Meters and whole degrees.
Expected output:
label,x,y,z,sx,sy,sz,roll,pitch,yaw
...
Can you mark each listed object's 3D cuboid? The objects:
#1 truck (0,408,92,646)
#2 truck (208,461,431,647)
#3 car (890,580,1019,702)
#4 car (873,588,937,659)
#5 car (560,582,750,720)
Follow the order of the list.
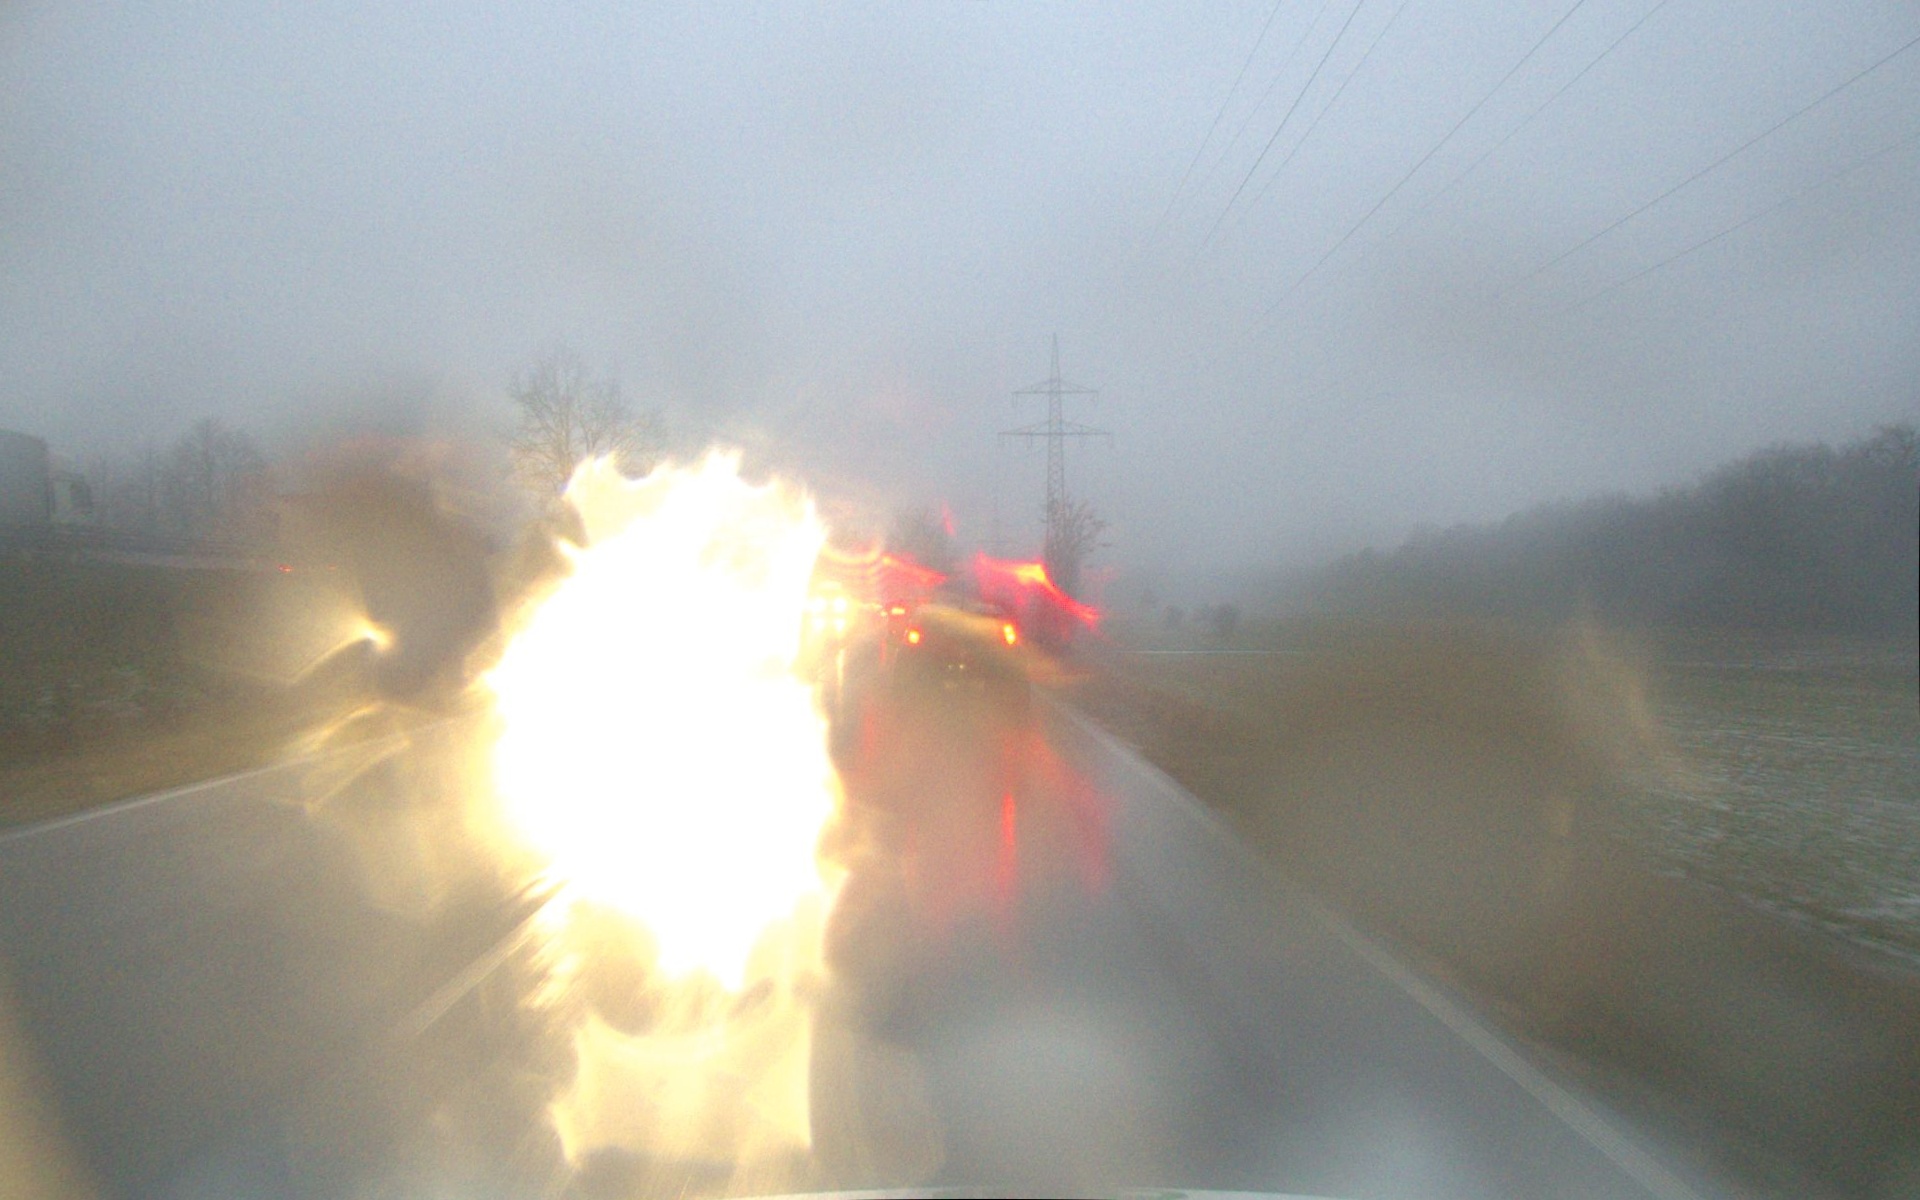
label,x,y,z,sx,sy,sz,roll,pitch,yaw
truck,-27.604,-1.997,41.720,3.688,6.398,15.729,1,0,-3
truck,-33.799,-1.912,90.804,7.420,7.848,39.976,1,0,-16
car,-0.127,0.495,21.175,1.470,1.423,3.197,1,0,-3
car,-1.708,0.705,50.241,1.815,2.049,3.997,1,0,-3
car,-3.919,0.603,21.959,1.749,1.619,4.485,1,0,-1
